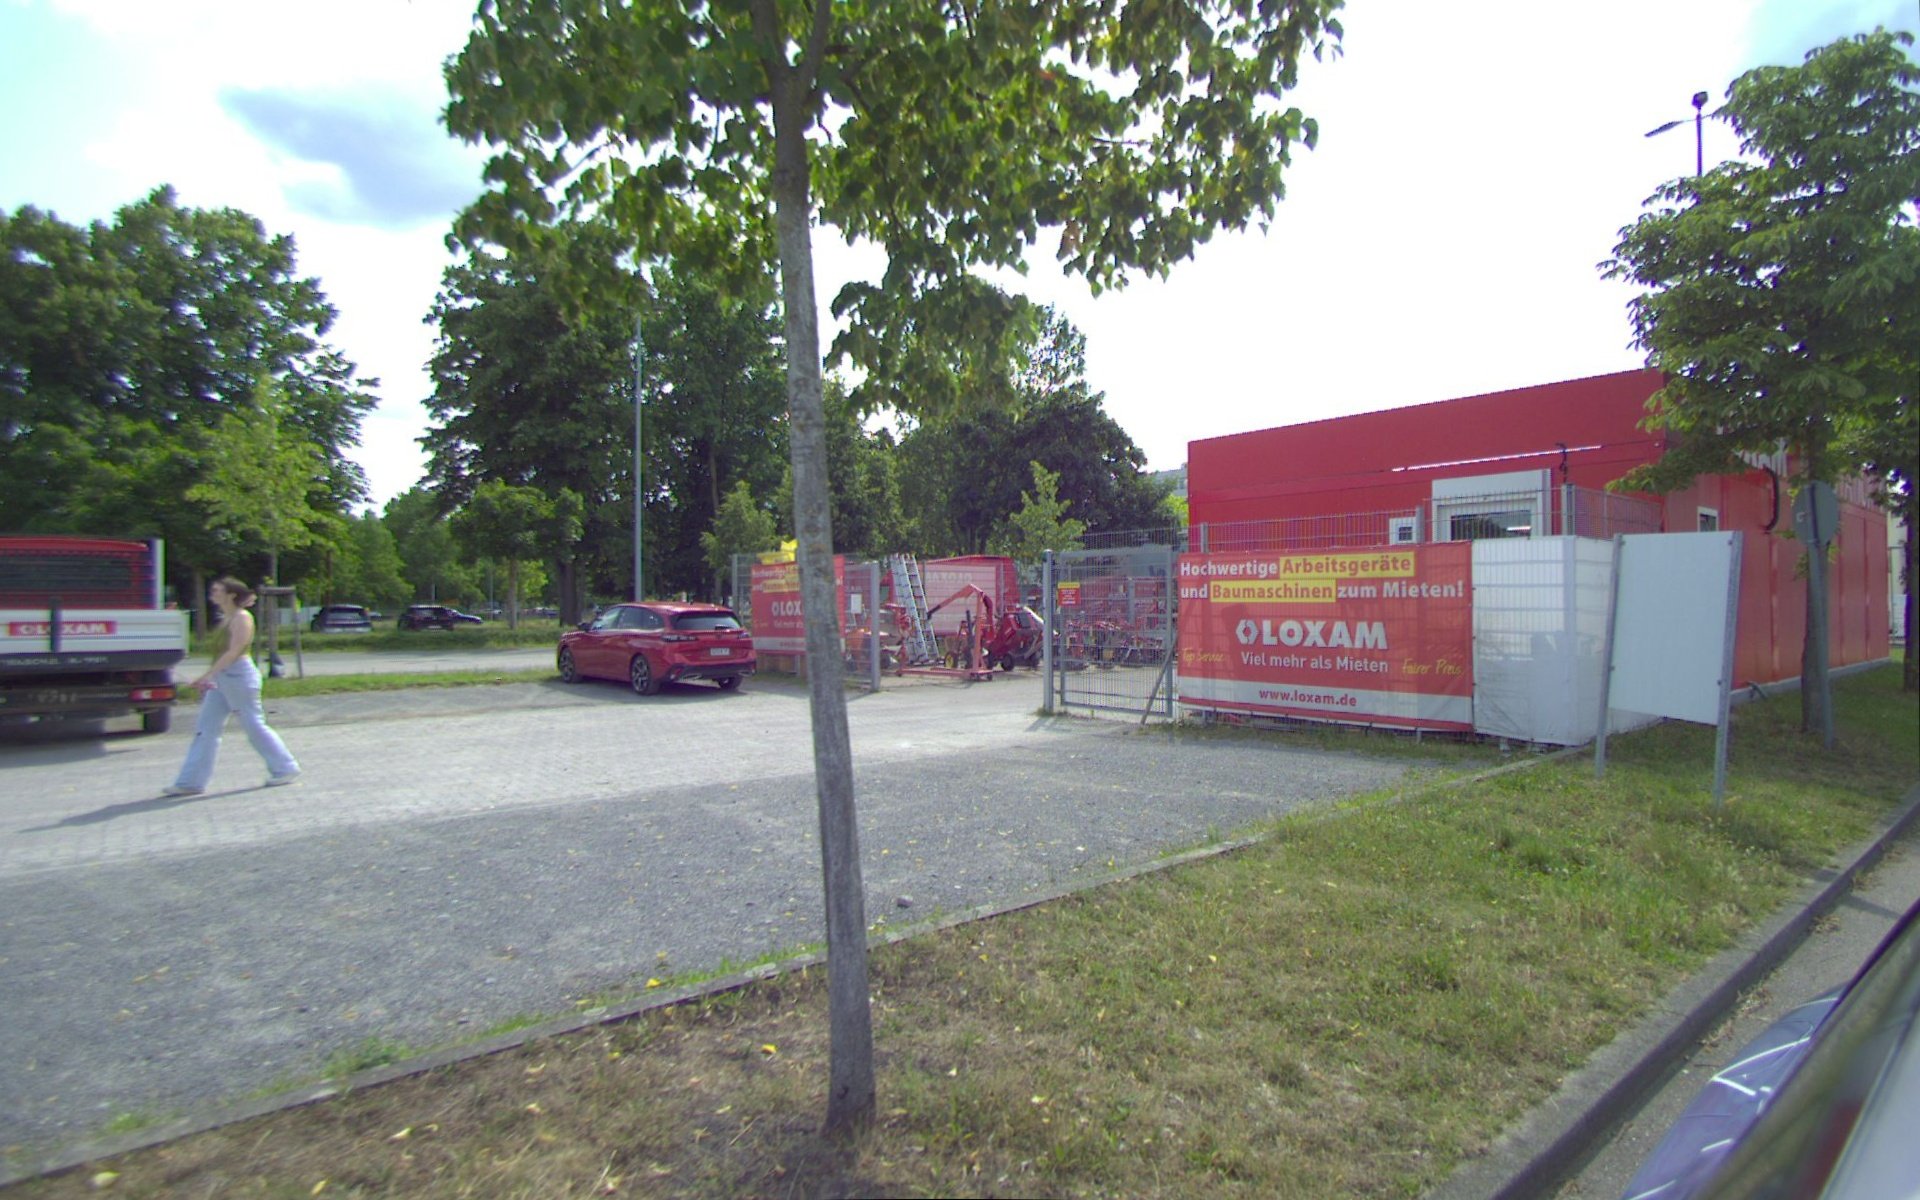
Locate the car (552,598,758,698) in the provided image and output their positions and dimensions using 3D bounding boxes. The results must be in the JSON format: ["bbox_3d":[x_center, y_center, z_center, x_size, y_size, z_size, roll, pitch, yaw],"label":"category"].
[{"bbox_3d":[-5.221,0.714,17.029,1.592,1.432,4.134,0,1,-45],"label":"car"}]

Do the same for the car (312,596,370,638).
[{"bbox_3d":[-26.490,0.677,43.245,1.867,1.676,3.487,-1,1,-36],"label":"car"}]

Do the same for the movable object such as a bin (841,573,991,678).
[{"bbox_3d":[-0.904,0.464,19.563,1.364,1.867,3.009,1,-1,-40],"label":"movable object such as a bin"}]

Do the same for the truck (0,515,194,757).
[{"bbox_3d":[-10.731,0.329,12.008,2.136,2.284,5.852,0,0,-42],"label":"truck"}]

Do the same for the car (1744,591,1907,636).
[{"bbox_3d":[34.810,0.504,40.830,1.836,1.721,4.829,2,-1,-42],"label":"car"}]

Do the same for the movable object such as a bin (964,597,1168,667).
[{"bbox_3d":[2.360,0.673,23.108,3.025,1.396,3.586,1,0,-36],"label":"movable object such as a bin"}]

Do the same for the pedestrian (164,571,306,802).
[{"bbox_3d":[-5.715,0.630,7.986,0.863,1.713,0.600,-1,1,-38],"label":"pedestrian"}]

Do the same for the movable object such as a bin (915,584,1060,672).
[{"bbox_3d":[0.514,0.538,20.952,1.364,1.691,3.009,1,-1,-40],"label":"movable object such as a bin"}]

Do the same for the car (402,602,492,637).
[{"bbox_3d":[-23.008,0.851,45.422,3.299,1.297,1.695,-4,3,-36],"label":"car"}]
